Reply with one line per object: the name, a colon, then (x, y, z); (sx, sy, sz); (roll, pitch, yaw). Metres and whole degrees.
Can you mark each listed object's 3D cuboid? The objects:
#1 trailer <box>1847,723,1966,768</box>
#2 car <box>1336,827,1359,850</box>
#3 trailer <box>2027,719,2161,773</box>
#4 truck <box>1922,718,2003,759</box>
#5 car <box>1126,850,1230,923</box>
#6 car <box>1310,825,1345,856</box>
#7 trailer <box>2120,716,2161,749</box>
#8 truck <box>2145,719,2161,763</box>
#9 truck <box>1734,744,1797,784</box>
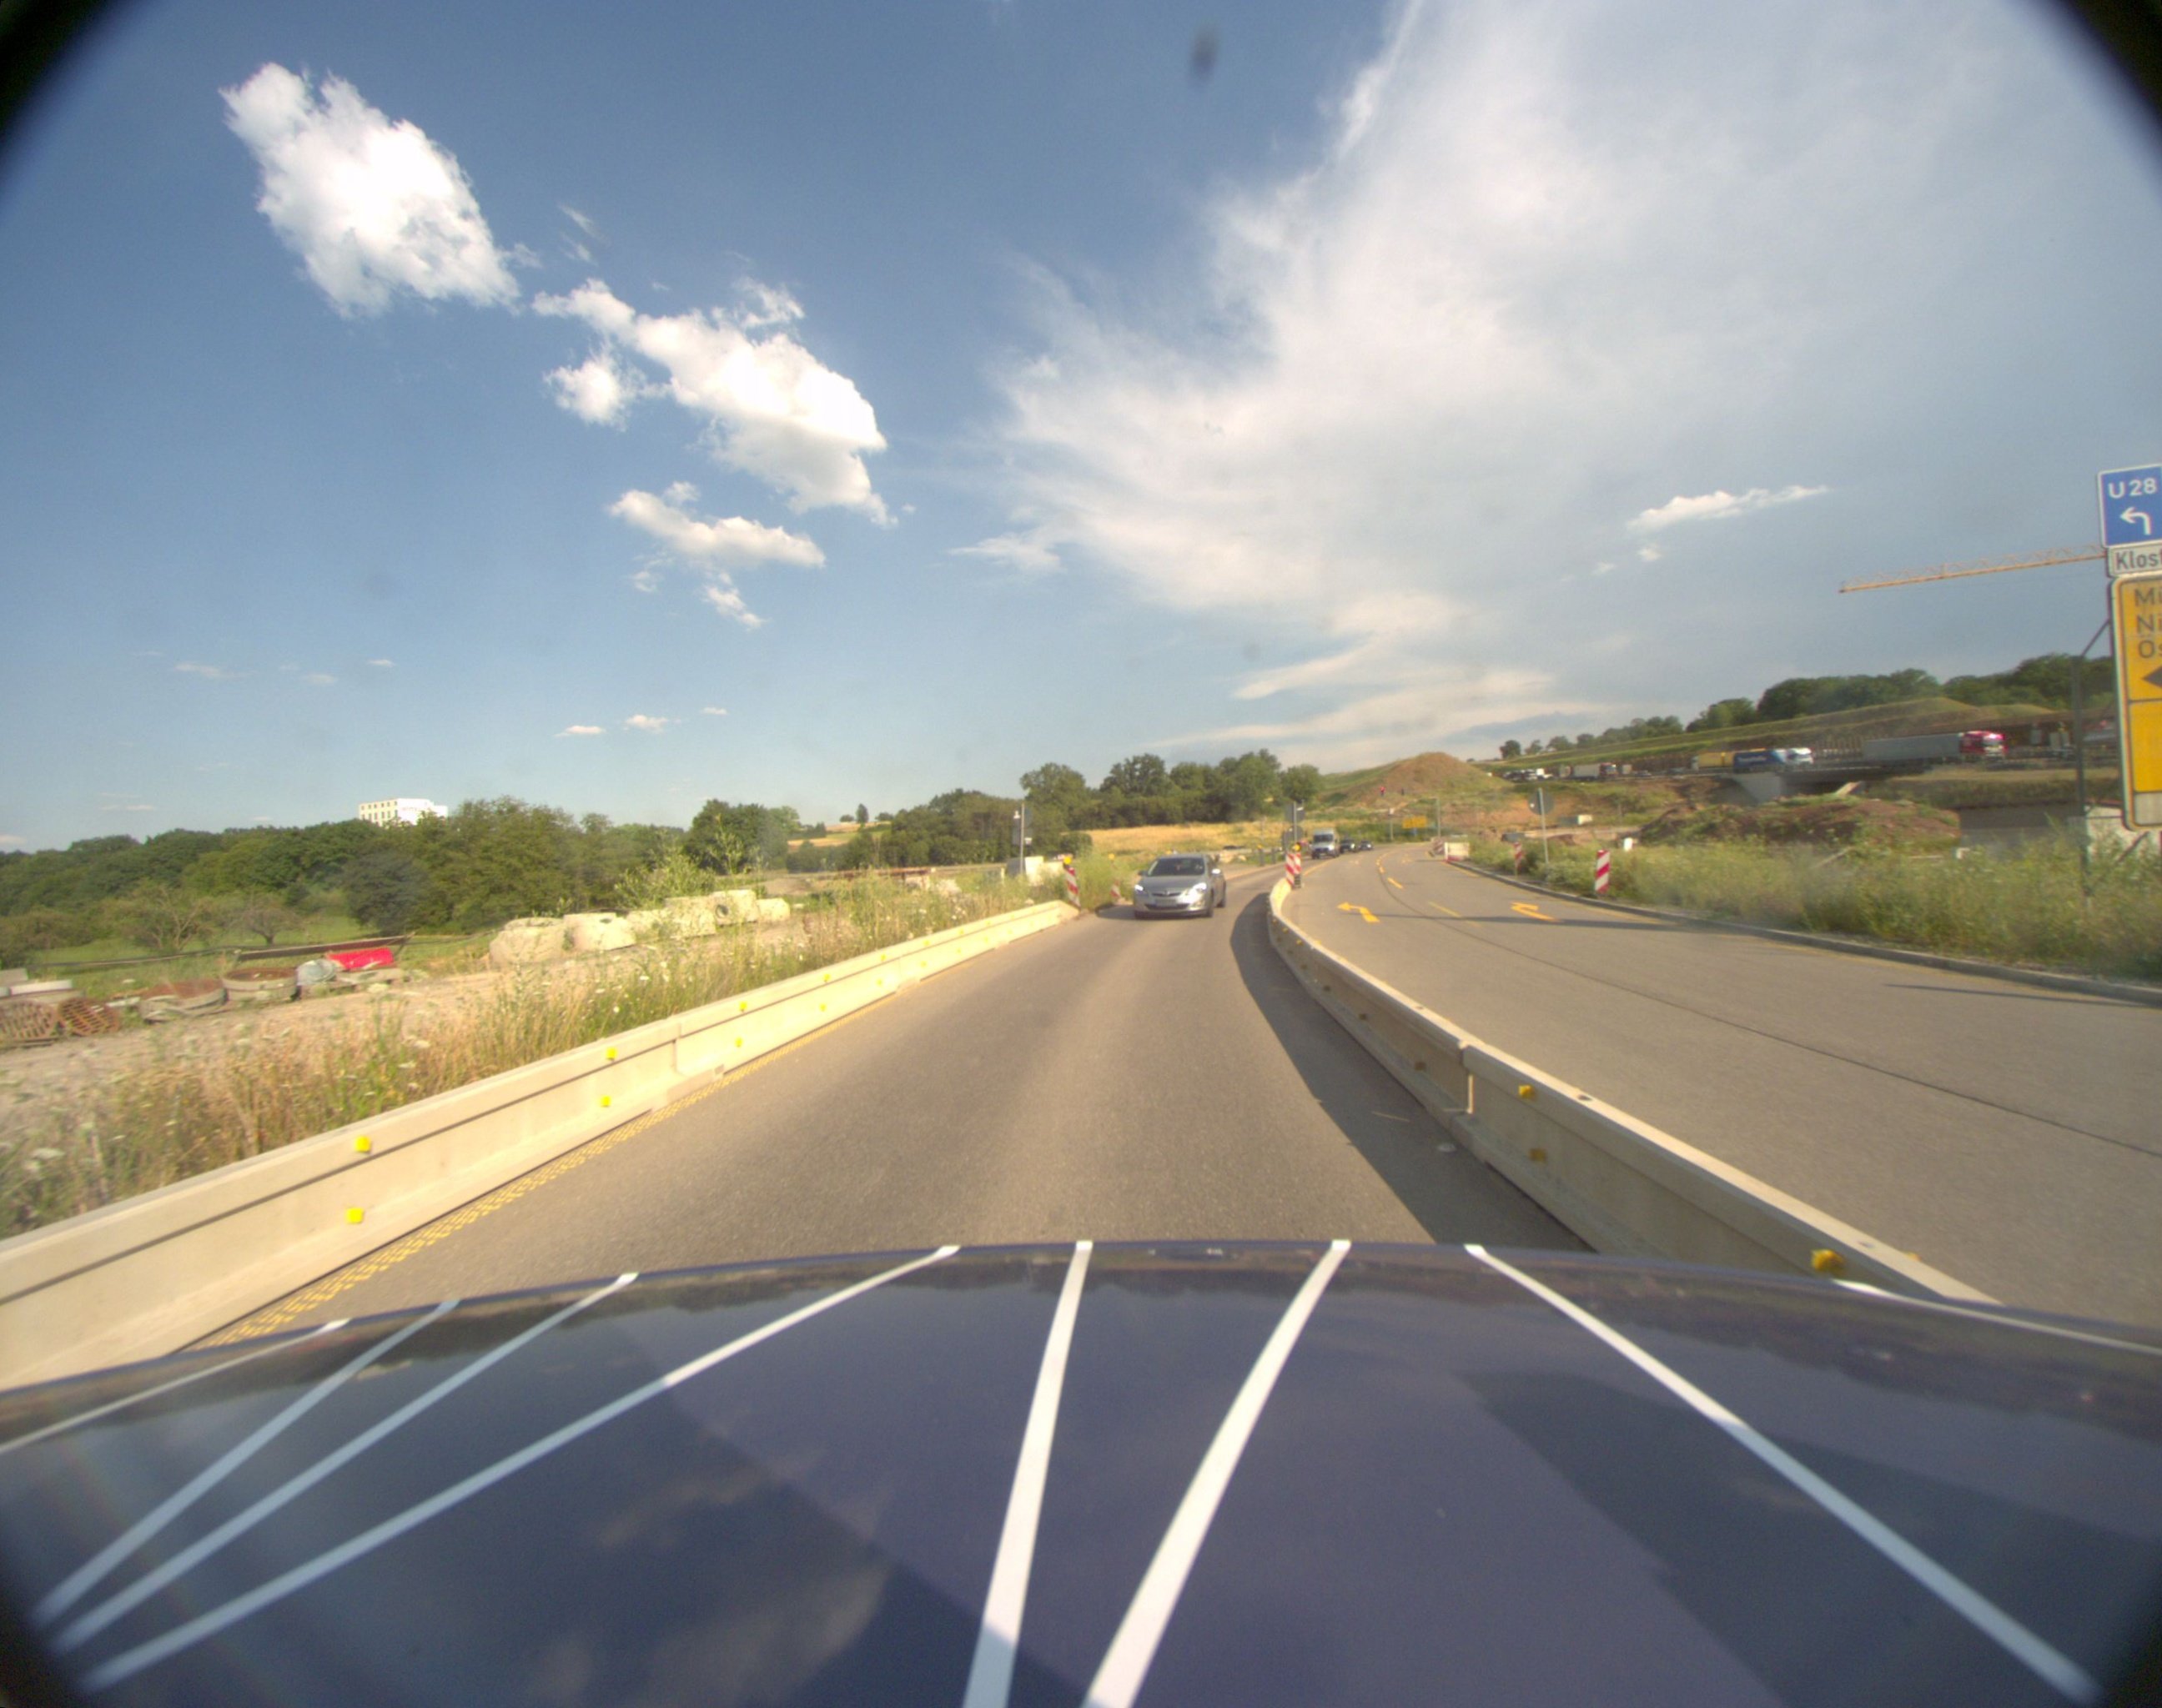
trailer: (115.662, -15.080, 106.981); (3.109, 4.289, 14.259); (-2, 1, 9)
car: (29.972, -1.778, 85.489); (1.872, 2.389, 4.006); (-2, 1, 27)
trailer: (111.722, -11.669, 82.054); (3.109, 4.289, 14.259); (-2, 1, 9)
truck: (114.340, -14.913, 98.713); (3.109, 4.289, 6.900); (-2, 1, 9)
car: (2.469, 0.707, 18.362); (1.745, 1.476, 4.257); (-3, 0, 17)
car: (21.627, -1.201, 66.500); (1.913, 2.486, 5.807); (-2, 1, 27)
trailer: (131.499, -14.921, 90.416); (1.969, 3.493, 11.181); (-2, 1, 9)
truck: (110.439, -11.519, 74.459); (3.109, 4.289, 6.900); (-2, 1, 9)
truck: (119.683, -15.597, 133.111); (3.170, 5.837, 10.151); (-2, 1, 9)
